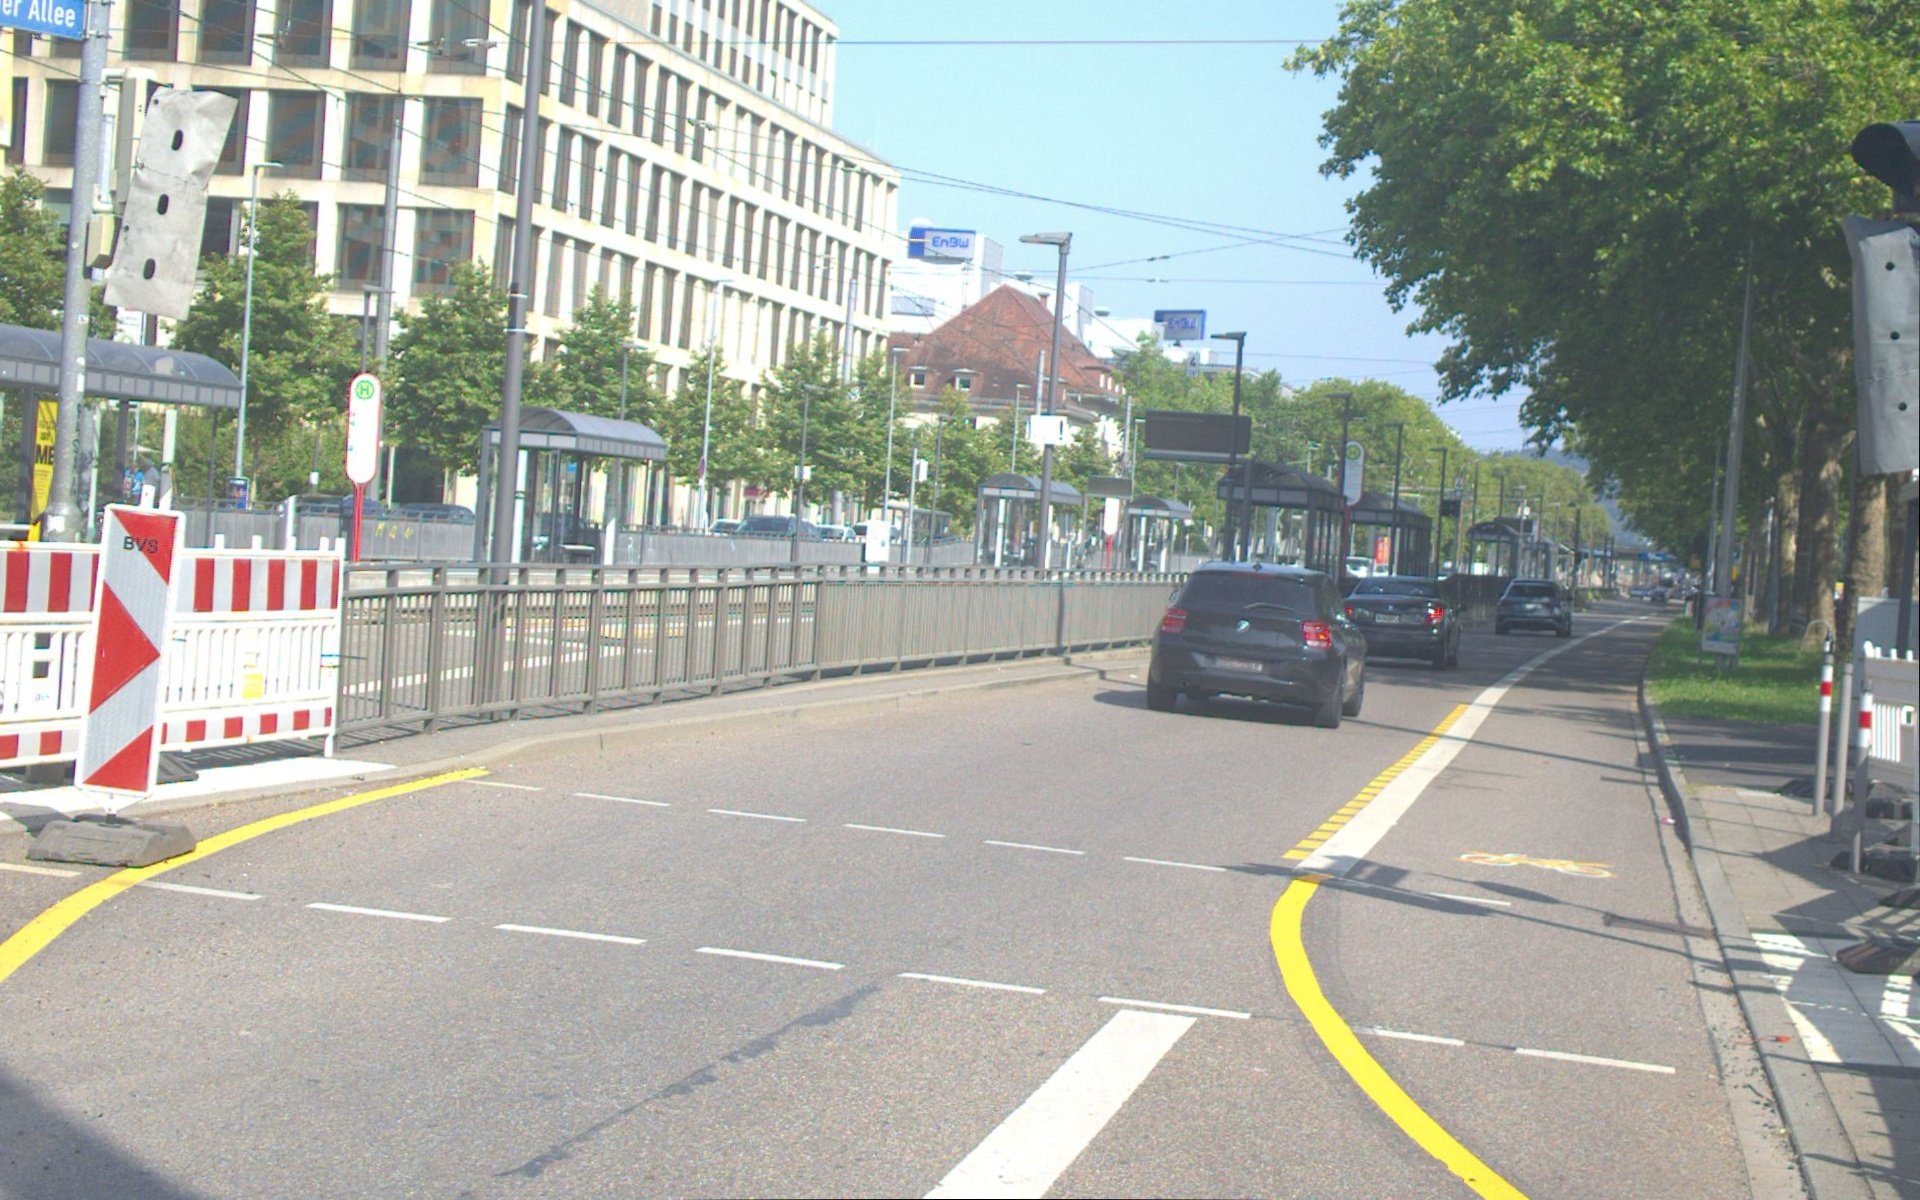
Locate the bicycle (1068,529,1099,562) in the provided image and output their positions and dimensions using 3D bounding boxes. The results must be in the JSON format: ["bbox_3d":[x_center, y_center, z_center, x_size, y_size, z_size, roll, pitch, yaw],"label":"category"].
[{"bbox_3d":[4.496,-1.964,124.698,0.472,1.143,1.481,5,1,27],"label":"bicycle"}]

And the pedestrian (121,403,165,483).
[{"bbox_3d":[-20.235,-3.884,85.114,0.793,1.910,0.838,1,0,6],"label":"pedestrian"}]

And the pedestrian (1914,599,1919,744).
[{"bbox_3d":[8.462,0.616,29.159,0.608,1.214,0.574,2,1,9],"label":"pedestrian"}]

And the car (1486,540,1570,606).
[{"bbox_3d":[14.603,-0.692,88.264,1.908,1.532,3.998,4,1,11],"label":"car"}]

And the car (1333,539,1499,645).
[{"bbox_3d":[7.043,-0.138,52.778,1.995,1.436,3.997,4,1,14],"label":"car"}]

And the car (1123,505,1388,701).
[{"bbox_3d":[2.871,-0.002,32.621,1.908,1.532,3.998,7,2,11],"label":"car"}]
